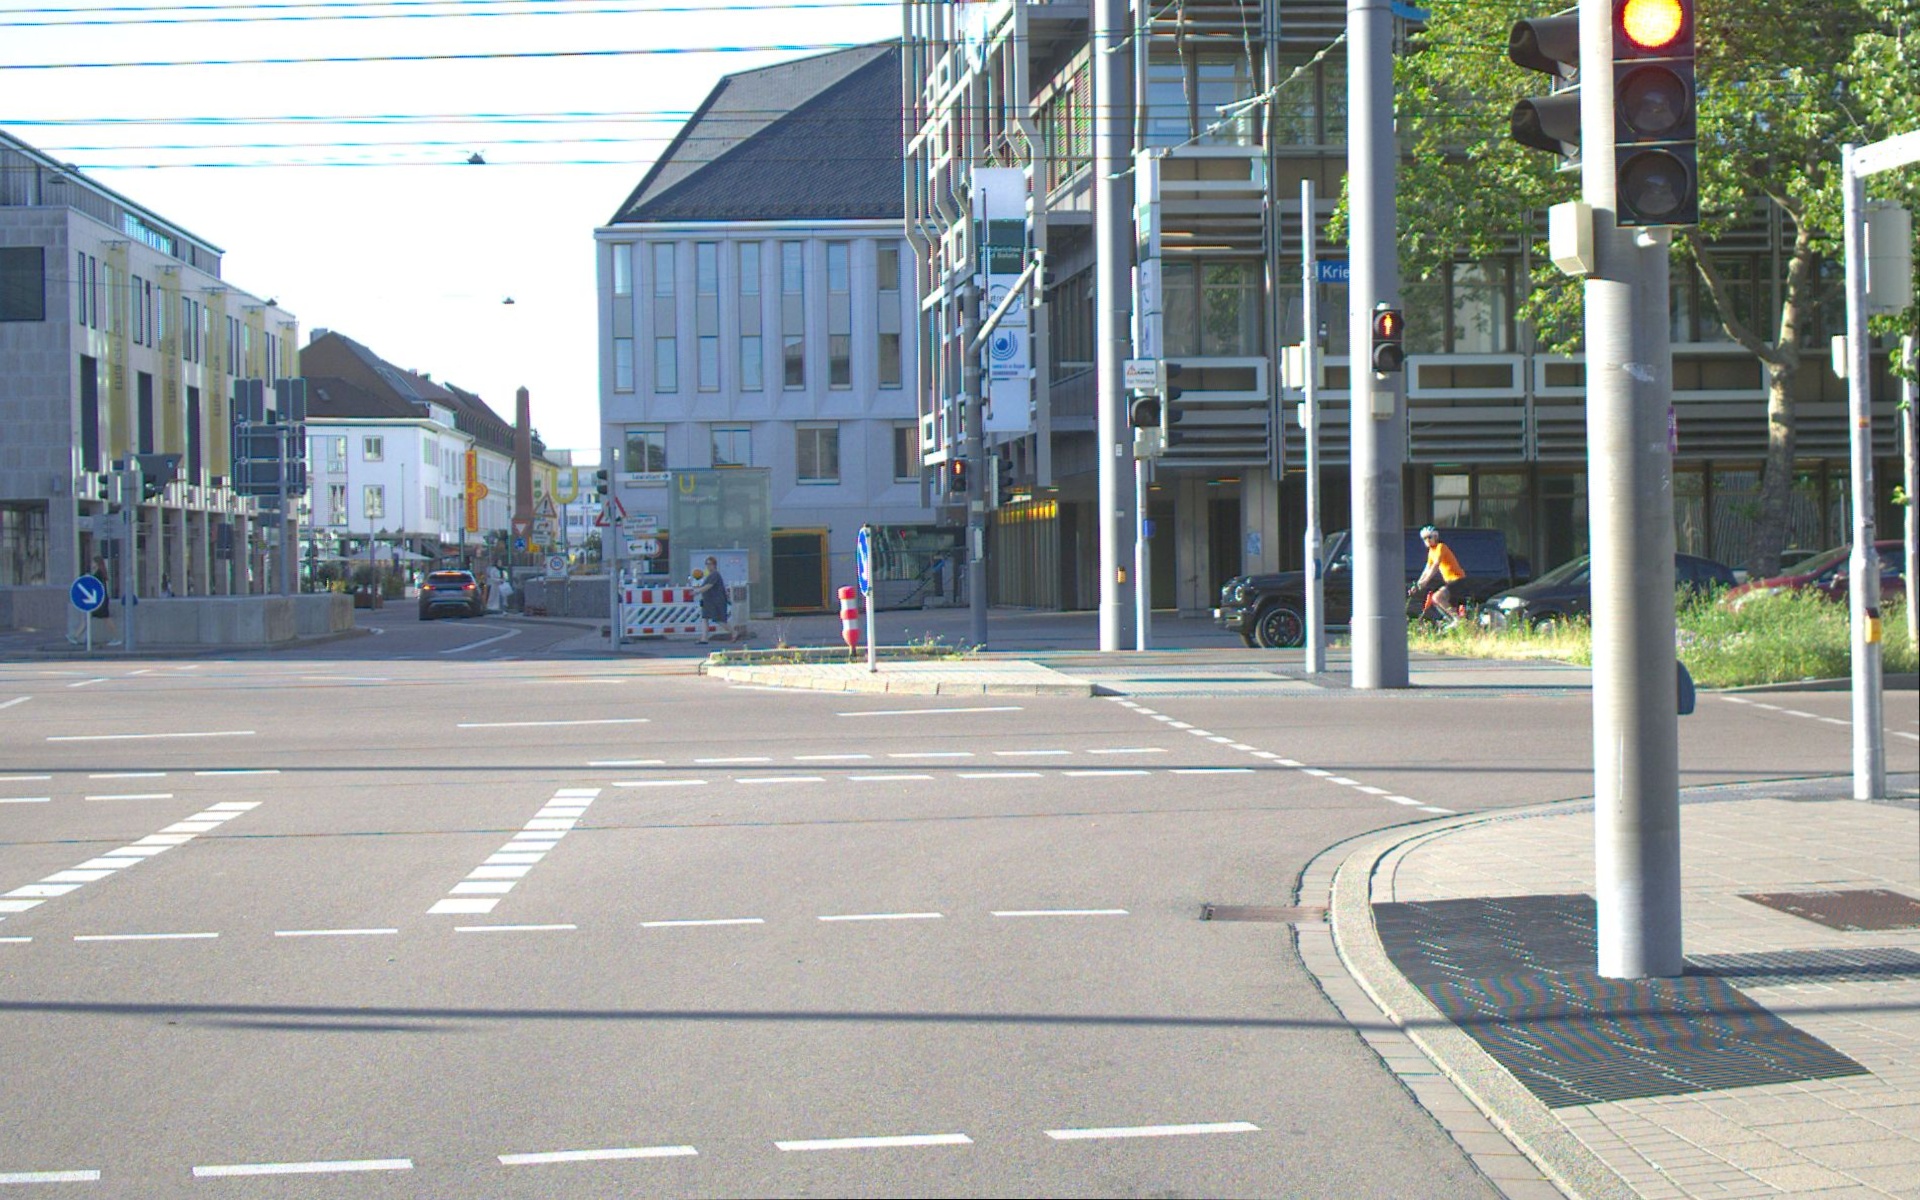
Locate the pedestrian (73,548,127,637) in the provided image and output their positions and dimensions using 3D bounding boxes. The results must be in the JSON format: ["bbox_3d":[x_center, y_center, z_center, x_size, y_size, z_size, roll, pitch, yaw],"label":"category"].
[{"bbox_3d":[-15.988,-0.139,63.914,0.777,1.632,0.626,-1,1,10],"label":"pedestrian"}]

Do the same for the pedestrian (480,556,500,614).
[{"bbox_3d":[-13.478,-0.435,98.679,0.489,1.658,0.532,1,0,-14],"label":"pedestrian"}]

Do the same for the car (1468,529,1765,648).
[{"bbox_3d":[9.618,-0.183,50.515,3.986,1.678,1.761,-1,1,-1],"label":"car"}]

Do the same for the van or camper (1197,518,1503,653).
[{"bbox_3d":[6.044,-0.238,53.580,4.414,2.007,1.995,-1,1,-5],"label":"van or camper"}]

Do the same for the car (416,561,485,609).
[{"bbox_3d":[-16.013,-0.477,108.083,1.658,1.453,3.542,-1,1,-1],"label":"car"}]

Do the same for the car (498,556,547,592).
[{"bbox_3d":[-18.570,-1.124,146.110,1.658,1.453,3.542,-1,1,-1],"label":"car"}]

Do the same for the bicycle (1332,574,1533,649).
[{"bbox_3d":[6.458,0.156,47.119,2.568,0.972,1.047,-1,1,-3],"label":"bicycle"}]

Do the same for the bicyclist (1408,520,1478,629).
[{"bbox_3d":[6.615,-0.352,47.128,0.822,1.469,0.652,-1,1,-4],"label":"bicyclist"}]

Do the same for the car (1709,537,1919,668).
[{"bbox_3d":[12.508,0.003,46.440,4.287,1.678,1.826,-1,1,-10],"label":"car"}]

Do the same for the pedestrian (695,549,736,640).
[{"bbox_3d":[-4.578,-0.112,64.329,0.700,1.682,0.619,-1,1,0],"label":"pedestrian"}]

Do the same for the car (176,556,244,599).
[{"bbox_3d":[-26.640,-0.816,122.208,1.658,1.453,3.542,-1,1,-1],"label":"car"}]

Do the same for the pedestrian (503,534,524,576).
[{"bbox_3d":[-21.384,-2.153,164.690,0.910,1.958,0.823,1,0,-1],"label":"pedestrian"}]
